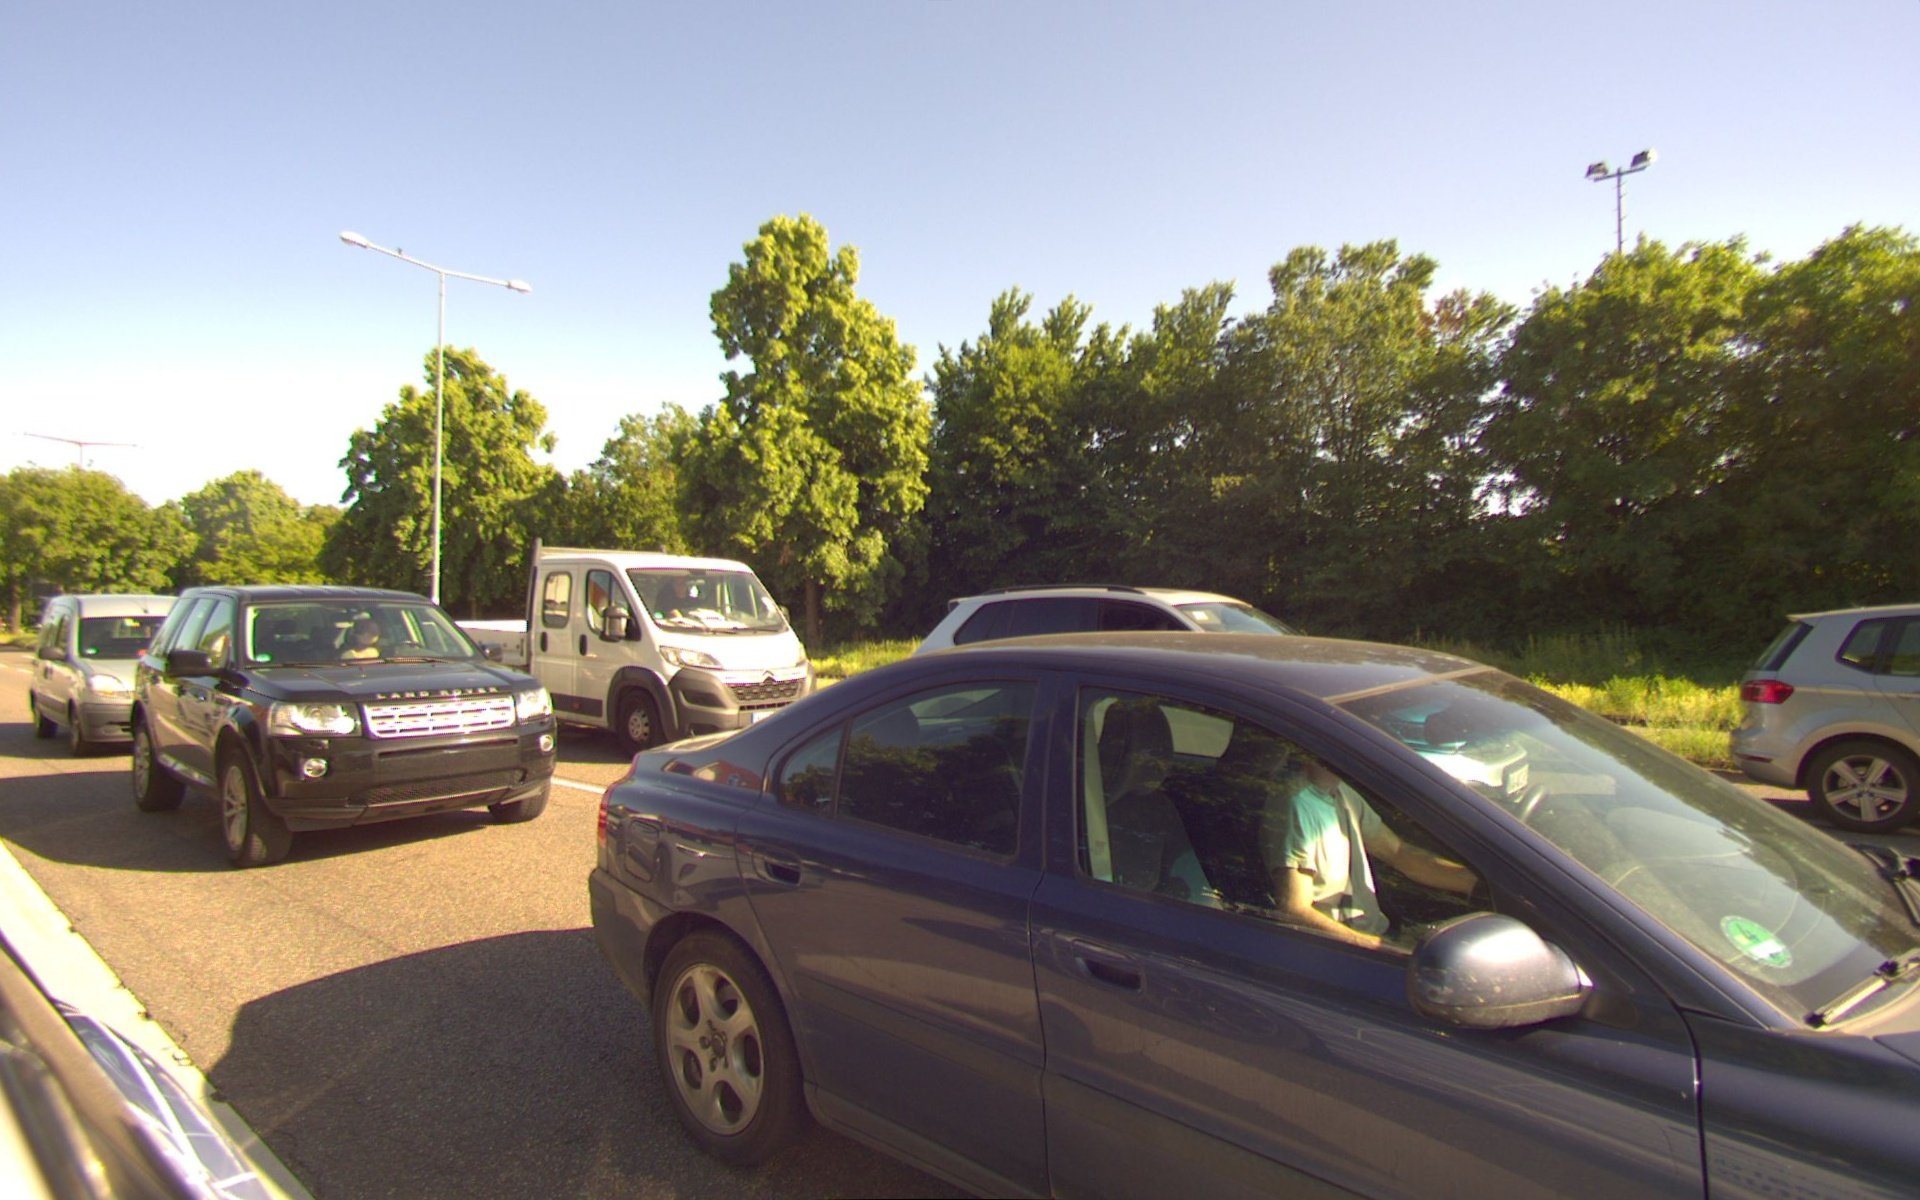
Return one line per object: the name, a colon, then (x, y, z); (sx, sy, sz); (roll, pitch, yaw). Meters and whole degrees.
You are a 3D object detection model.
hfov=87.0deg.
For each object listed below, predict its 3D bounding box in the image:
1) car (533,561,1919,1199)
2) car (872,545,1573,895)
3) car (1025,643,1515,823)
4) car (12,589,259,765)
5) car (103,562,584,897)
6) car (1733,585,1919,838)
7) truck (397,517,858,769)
car: (0.890, 0.690, 2.422); (4.454, 1.463, 1.757); (-1, 0, 41)
car: (1.620, 0.665, 7.213); (4.422, 1.723, 1.973); (-2, -3, 41)
car: (3.029, 1.187, 10.538); (4.550, 1.440, 1.811); (-2, -3, 41)
car: (-10.054, 0.794, 12.218); (4.384, 1.765, 1.611); (-1, -1, 41)
car: (-4.697, 0.700, 7.417); (4.384, 1.744, 1.793); (-1, -1, 41)
car: (7.629, 0.716, 6.411); (4.206, 1.623, 1.810); (-2, -3, 42)
truck: (-4.403, 0.434, 12.443); (6.838, 2.337, 2.158); (-1, -1, 40)
